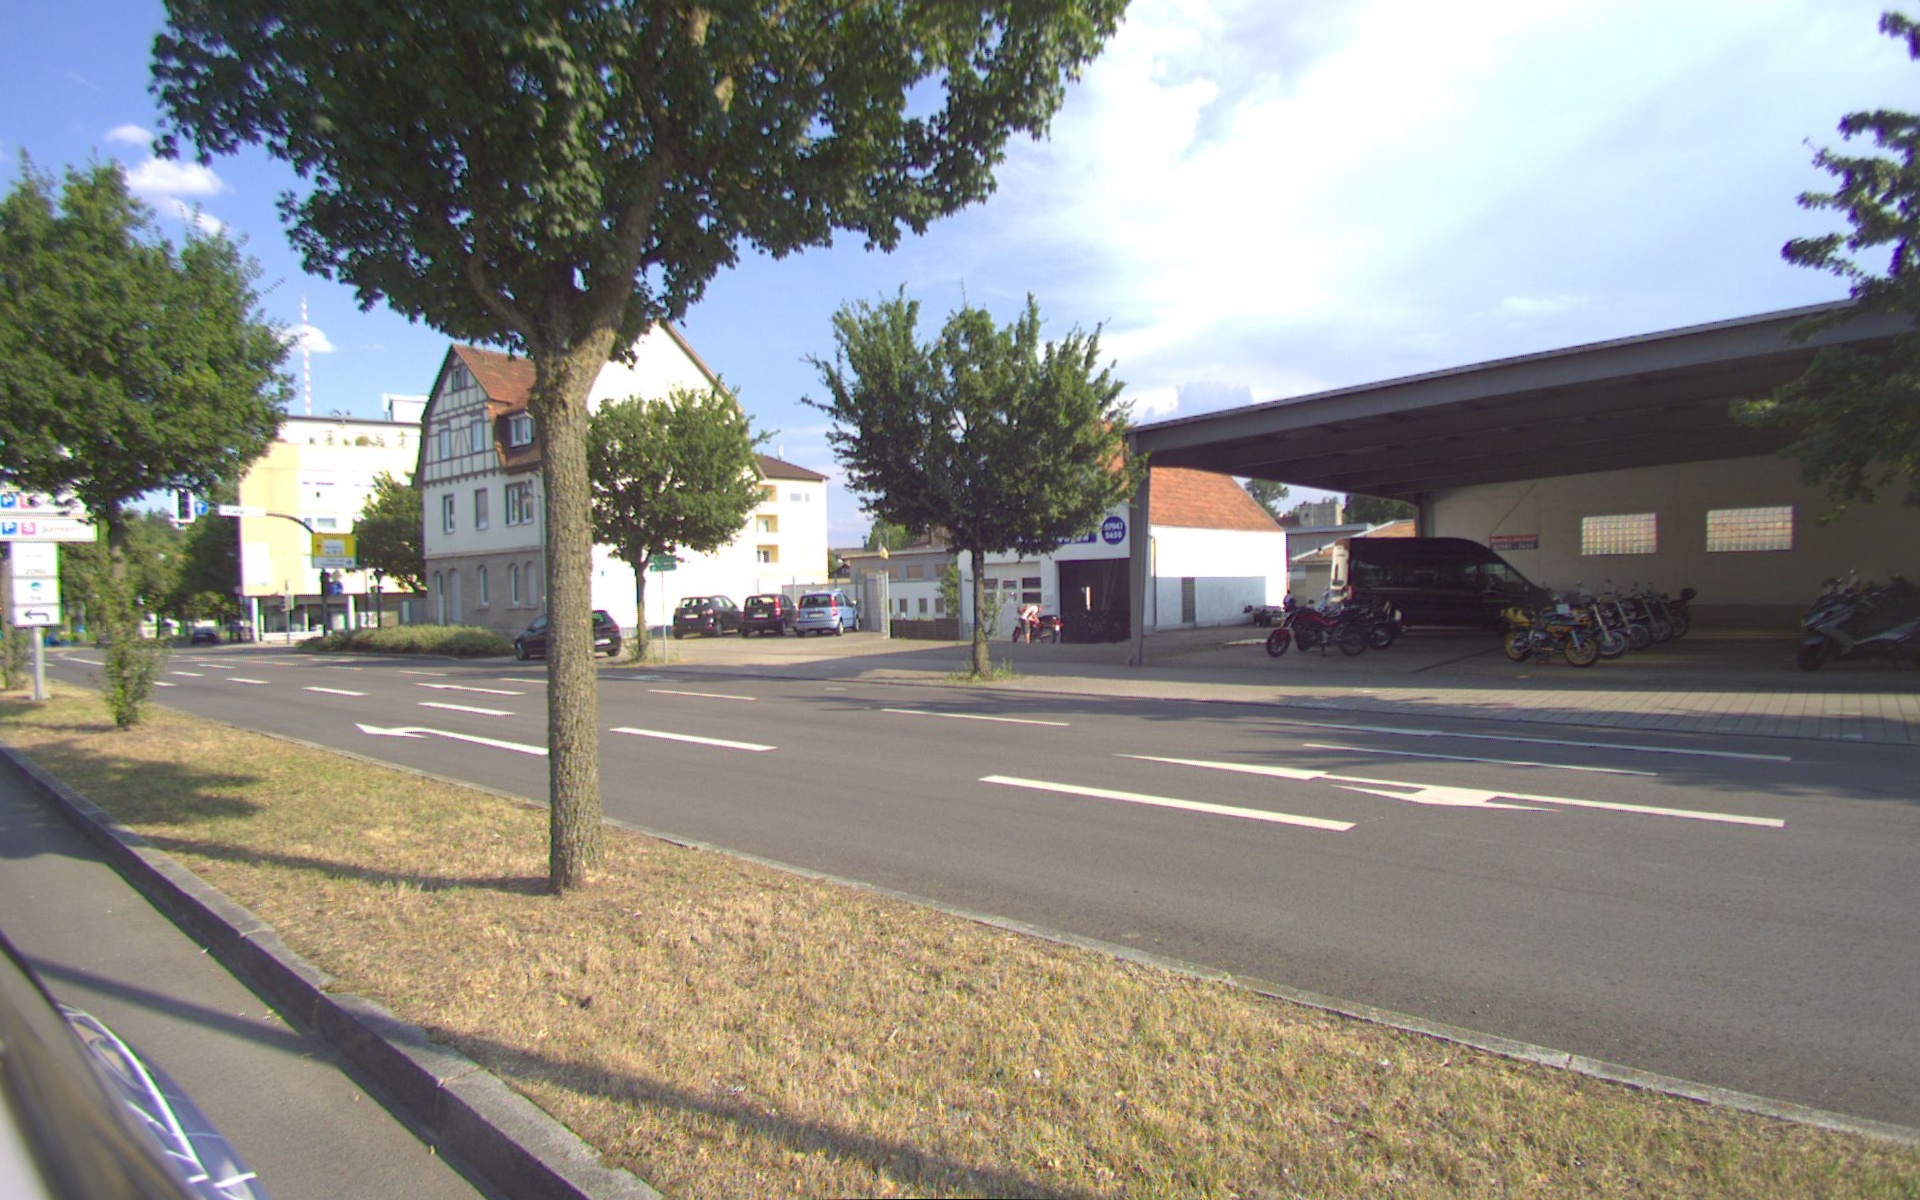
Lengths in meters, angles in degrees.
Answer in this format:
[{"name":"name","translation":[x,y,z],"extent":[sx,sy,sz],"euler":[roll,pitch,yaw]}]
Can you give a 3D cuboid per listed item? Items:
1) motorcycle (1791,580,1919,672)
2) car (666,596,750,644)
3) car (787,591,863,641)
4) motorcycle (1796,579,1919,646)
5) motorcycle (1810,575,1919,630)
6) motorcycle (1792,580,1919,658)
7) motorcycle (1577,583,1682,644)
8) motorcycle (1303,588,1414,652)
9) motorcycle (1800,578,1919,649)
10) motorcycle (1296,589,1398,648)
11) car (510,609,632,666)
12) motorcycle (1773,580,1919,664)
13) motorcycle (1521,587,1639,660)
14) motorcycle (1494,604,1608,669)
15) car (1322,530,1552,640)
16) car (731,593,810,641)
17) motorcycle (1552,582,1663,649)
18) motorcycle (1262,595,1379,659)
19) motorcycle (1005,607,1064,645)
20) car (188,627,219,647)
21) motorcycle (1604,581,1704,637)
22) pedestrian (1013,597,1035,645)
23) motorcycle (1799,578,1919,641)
[{"name":"motorcycle","translation":[13.865,0.376,15.113],"extent":[2.103,1.306,0.628],"euler":[-3,-1,17]},{"name":"car","translation":[-9.318,0.690,37.697],"extent":[1.797,1.512,3.819],"euler":[-3,2,5]},{"name":"car","translation":[-4.678,0.520,35.675],"extent":[1.797,1.512,3.819],"euler":[-3,2,5]},{"name":"motorcycle","translation":[19.038,0.257,21.286],"extent":[2.103,1.306,0.628],"euler":[-3,-1,17]},{"name":"motorcycle","translation":[23.738,0.074,26.518],"extent":[2.103,1.306,0.628],"euler":[-3,-1,17]},{"name":"motorcycle","translation":[16.535,0.341,18.345],"extent":[2.103,1.306,0.628],"euler":[-3,-1,17]},{"name":"motorcycle","translation":[15.541,0.303,23.576],"extent":[0.621,1.347,2.269],"euler":[-1,0,-9]},{"name":"motorcycle","translation":[8.960,0.451,22.801],"extent":[2.198,1.372,0.630],"euler":[-1,0,5]},{"name":"motorcycle","translation":[18.049,0.271,19.986],"extent":[2.103,1.306,0.628],"euler":[-3,-1,17]},{"name":"motorcycle","translation":[9.383,0.453,24.605],"extent":[2.198,1.372,0.630],"euler":[-1,0,5]},{"name":"car","translation":[-11.596,1.080,30.074],"extent":[3.823,1.462,1.795],"euler":[-1,2,42]},{"name":"motorcycle","translation":[14.917,0.362,16.773],"extent":[2.103,1.306,0.628],"euler":[-3,-1,17]},{"name":"motorcycle","translation":[12.162,0.438,19.953],"extent":[0.621,1.347,2.269],"euler":[-1,0,-9]},{"name":"motorcycle","translation":[10.535,0.620,18.149],"extent":[0.621,1.095,2.038],"euler":[-1,0,-7]},{"name":"car","translation":[12.870,-0.377,27.625],"extent":[5.221,2.773,1.996],"euler":[-1,0,7]},{"name":"car","translation":[-6.917,0.586,37.305],"extent":[1.797,1.512,3.819],"euler":[-3,2,5]},{"name":"motorcycle","translation":[13.868,0.325,21.766],"extent":[0.621,1.347,2.269],"euler":[-1,0,-9]},{"name":"motorcycle","translation":[7.500,0.562,21.157],"extent":[2.202,1.290,0.629],"euler":[-1,0,11]},{"name":"motorcycle","translation":[2.438,0.839,33.208],"extent":[1.974,1.194,0.577],"euler":[-1,0,41]},{"name":"car","translation":[-67.866,3.298,90.854],"extent":[1.752,1.706,4.012],"euler":[-1,0,-30]},{"name":"motorcycle","translation":[17.295,0.221,25.300],"extent":[0.621,1.347,2.269],"euler":[-1,0,-9]},{"name":"pedestrian","translation":[2.076,0.676,32.762],"extent":[0.485,1.530,0.496],"euler":[-1,0,41]},{"name":"motorcycle","translation":[20.232,0.208,22.641],"extent":[2.103,1.306,0.628],"euler":[-3,-1,17]}]
